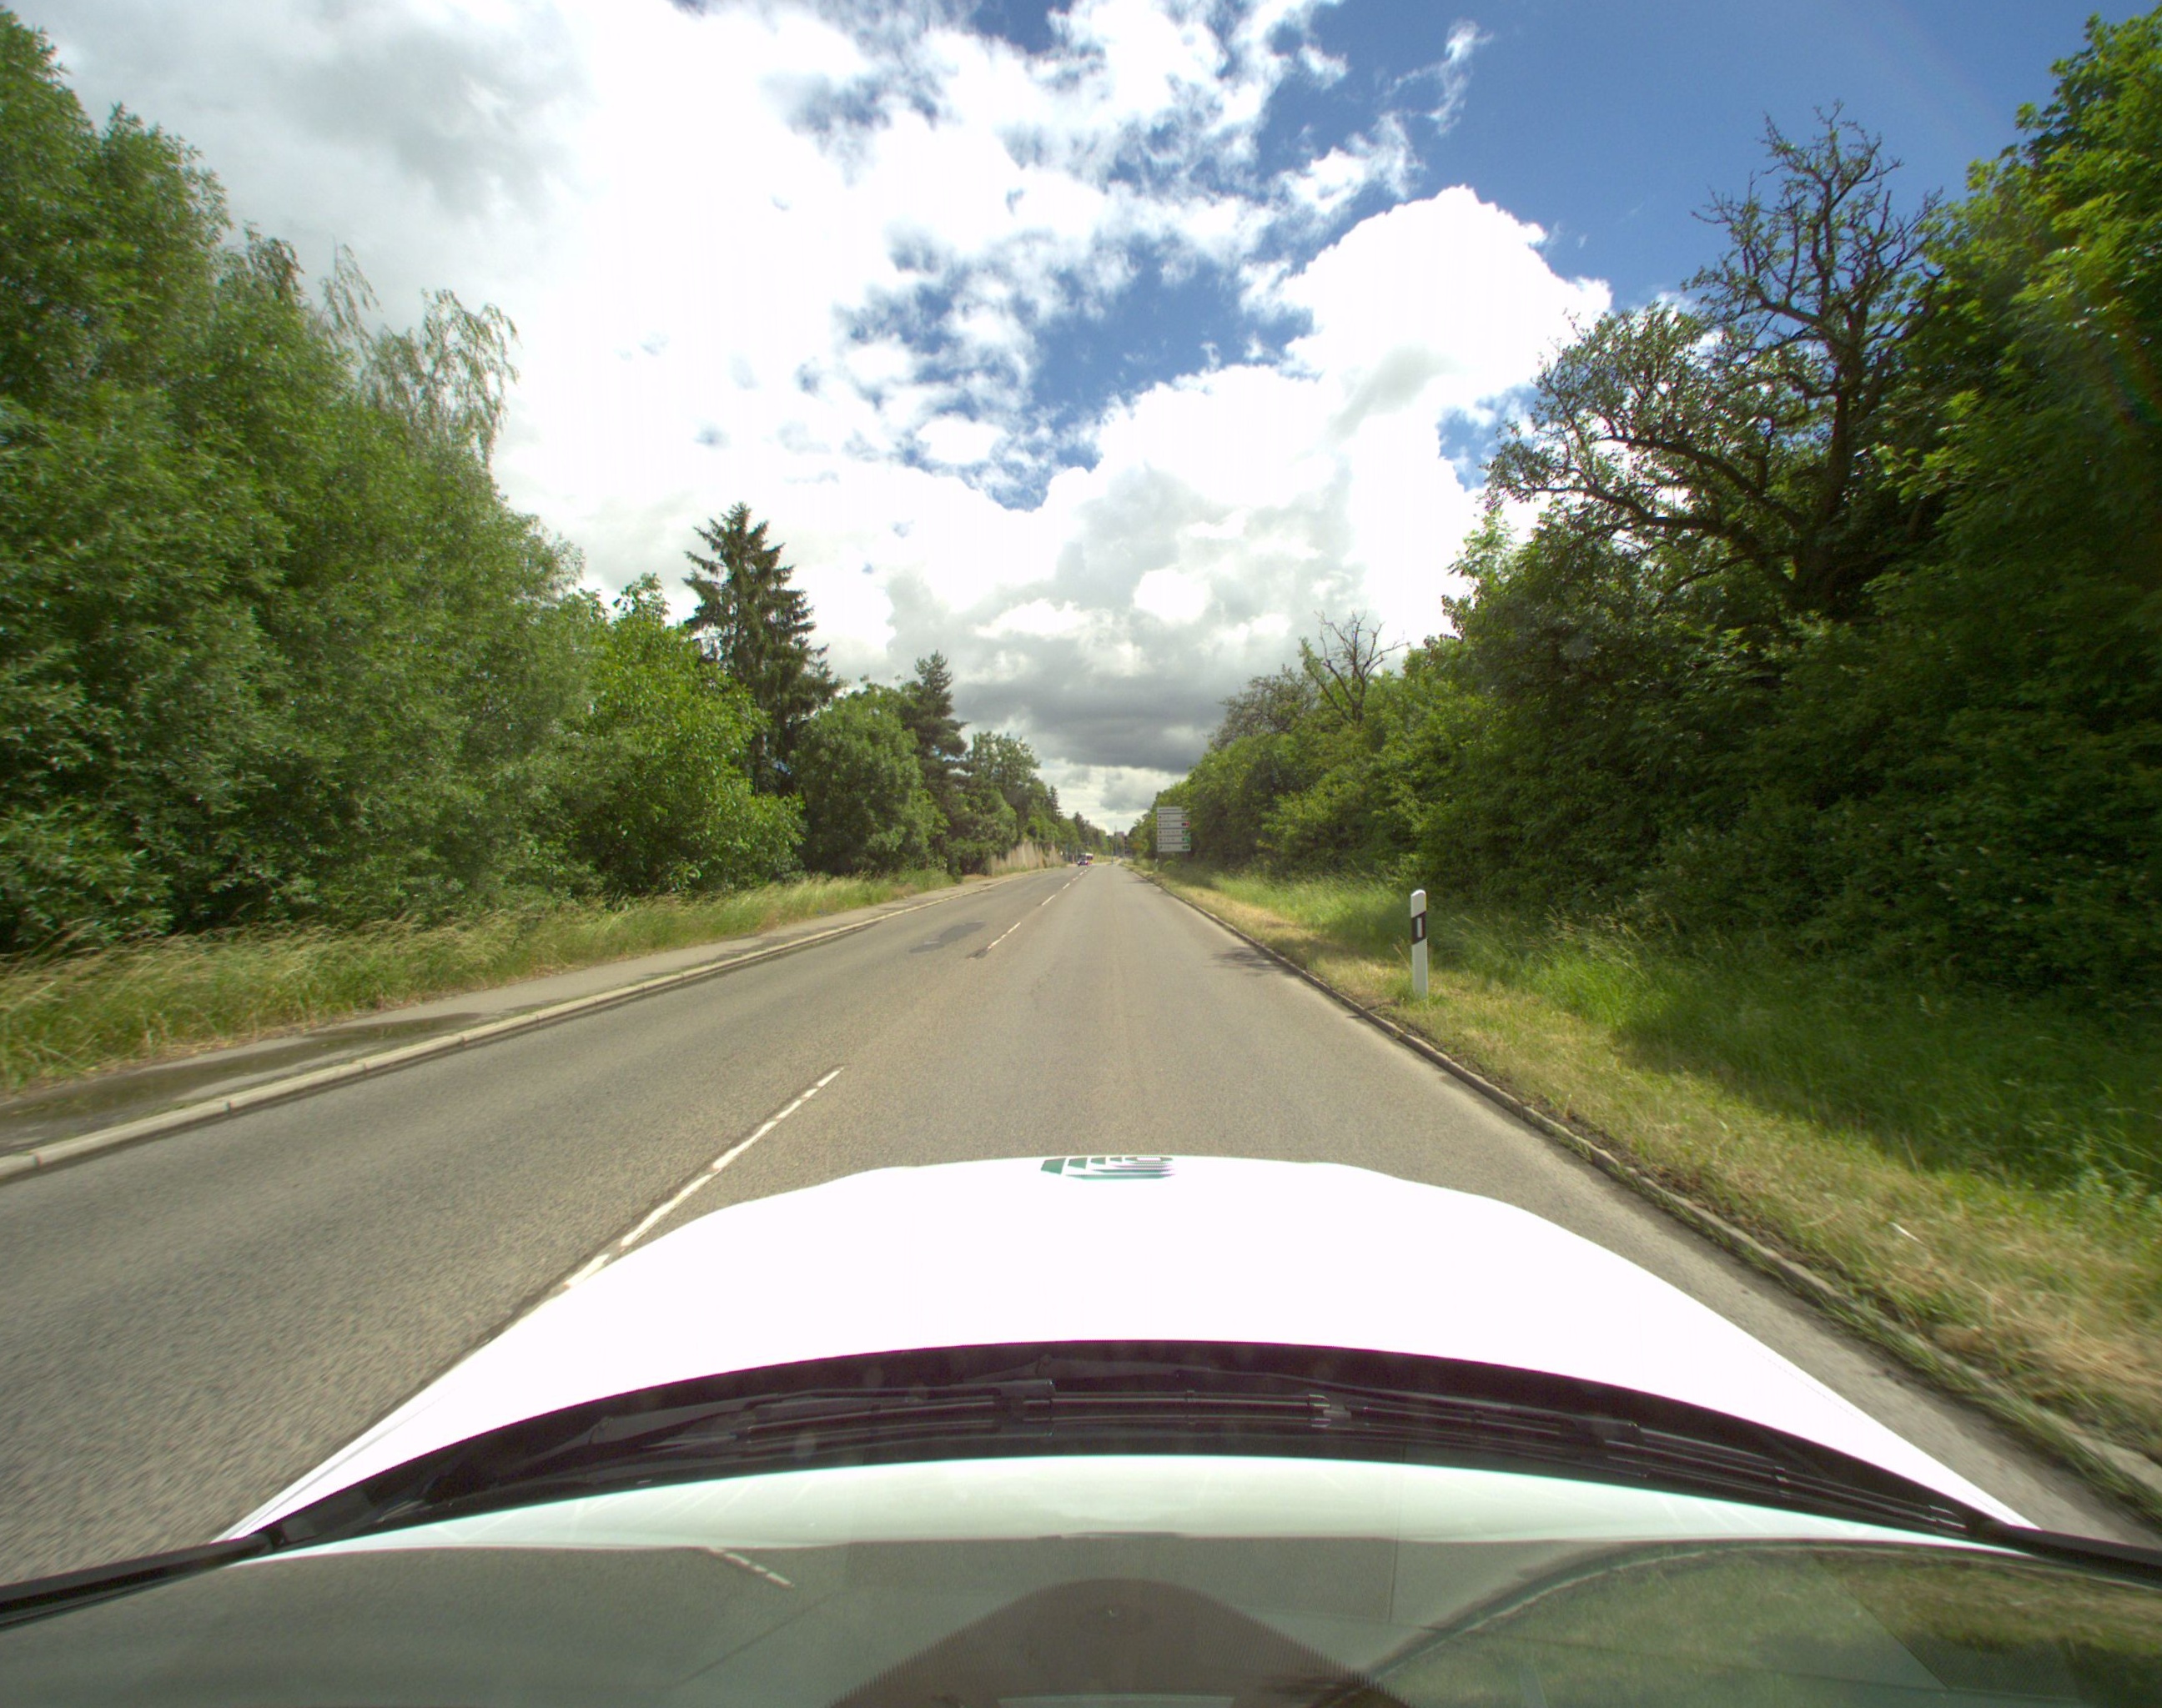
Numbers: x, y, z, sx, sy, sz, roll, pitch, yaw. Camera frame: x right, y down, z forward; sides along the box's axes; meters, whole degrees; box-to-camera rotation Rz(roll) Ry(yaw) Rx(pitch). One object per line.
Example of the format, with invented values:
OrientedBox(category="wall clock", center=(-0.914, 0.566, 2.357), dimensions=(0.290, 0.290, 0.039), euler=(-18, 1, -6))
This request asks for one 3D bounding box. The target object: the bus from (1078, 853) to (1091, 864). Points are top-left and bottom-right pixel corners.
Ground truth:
OrientedBox(category="bus", center=(1.021, 1.204, 233.300), dimensions=(2.880, 2.899, 7.679), euler=(0, 1, 5))

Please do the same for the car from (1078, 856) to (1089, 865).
OrientedBox(category="car", center=(0.503, 1.160, 145.008), dimensions=(1.745, 1.464, 4.001), euler=(-2, 0, 1))
